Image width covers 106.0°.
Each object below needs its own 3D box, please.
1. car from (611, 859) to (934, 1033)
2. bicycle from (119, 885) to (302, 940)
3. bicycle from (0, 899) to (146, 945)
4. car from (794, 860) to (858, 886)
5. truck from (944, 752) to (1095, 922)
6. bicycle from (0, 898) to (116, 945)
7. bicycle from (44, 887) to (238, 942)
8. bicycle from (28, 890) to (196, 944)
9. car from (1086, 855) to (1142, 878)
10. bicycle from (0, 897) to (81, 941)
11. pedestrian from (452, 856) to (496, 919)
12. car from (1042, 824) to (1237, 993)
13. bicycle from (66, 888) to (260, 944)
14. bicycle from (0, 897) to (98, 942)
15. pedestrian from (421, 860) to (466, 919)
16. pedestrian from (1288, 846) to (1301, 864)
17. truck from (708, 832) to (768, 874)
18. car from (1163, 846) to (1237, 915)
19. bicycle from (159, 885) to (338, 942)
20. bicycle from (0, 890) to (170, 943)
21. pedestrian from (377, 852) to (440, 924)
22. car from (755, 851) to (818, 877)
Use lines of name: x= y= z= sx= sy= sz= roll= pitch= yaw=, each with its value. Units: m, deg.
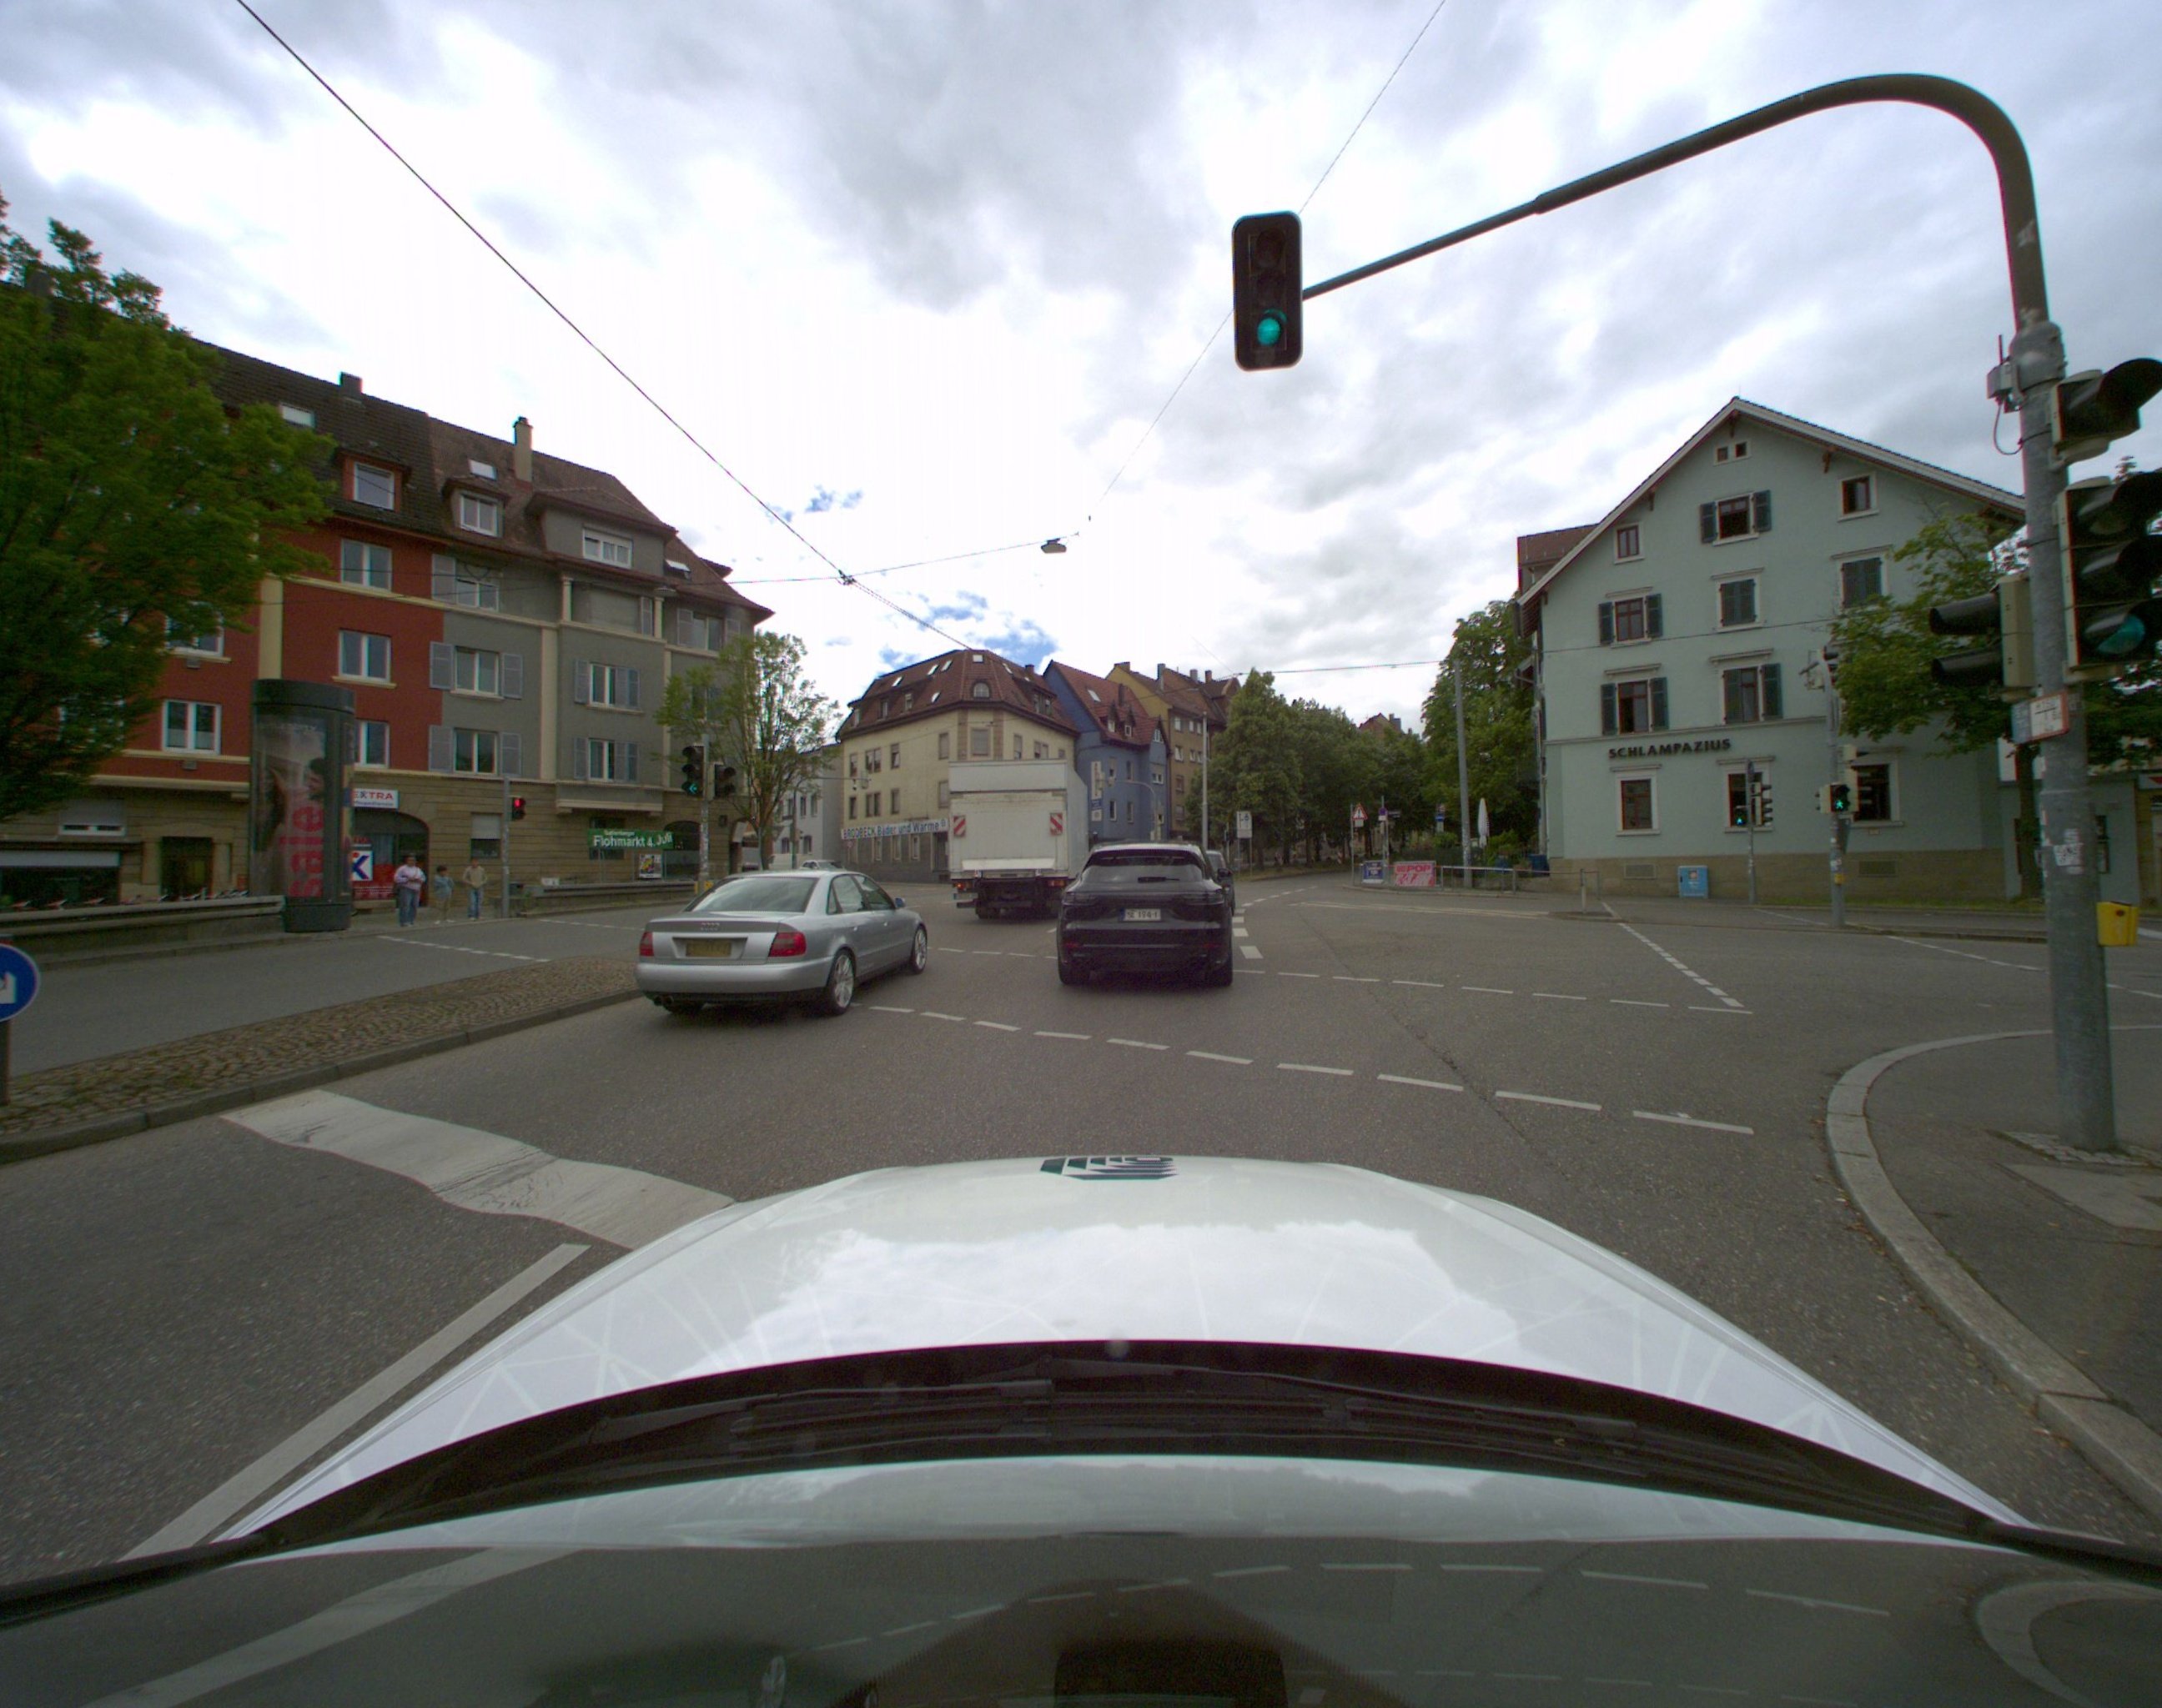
car: x=-2.945 y=0.770 z=8.824 sx=1.621 sy=1.365 sz=4.133 roll=1 pitch=0 yaw=5
bicycle: x=-22.418 y=1.459 z=21.143 sx=0.812 sy=1.202 sz=3.366 roll=0 pitch=0 yaw=8
bicycle: x=-27.184 y=1.778 z=21.799 sx=0.812 sy=1.021 sz=2.841 roll=0 pitch=0 yaw=8
car: x=-15.050 y=1.132 z=47.925 sx=3.925 sy=1.470 sz=1.892 roll=-1 pitch=-2 yaw=43
truck: x=-1.232 y=-0.351 z=21.348 sx=2.713 sy=3.544 sz=8.430 roll=0 pitch=0 yaw=4
bicycle: x=-27.918 y=1.792 z=21.853 sx=0.629 sy=1.070 sz=2.668 roll=0 pitch=0 yaw=8
bicycle: x=-24.535 y=1.532 z=21.415 sx=0.898 sy=1.202 sz=3.366 roll=0 pitch=0 yaw=8
bicycle: x=-25.489 y=1.621 z=21.548 sx=0.812 sy=1.202 sz=2.841 roll=0 pitch=0 yaw=8
car: x=2.274 y=0.827 z=54.964 sx=1.700 sy=1.476 sz=4.245 roll=-3 pitch=-2 yaw=36
bicycle: x=-29.190 y=1.783 z=22.083 sx=0.629 sy=1.070 sz=2.669 roll=0 pitch=0 yaw=9
pedestrian: x=-14.510 y=0.784 z=19.478 sx=0.518 sy=1.487 sz=0.656 roll=0 pitch=0 yaw=15
car: x=0.935 y=0.549 z=10.668 sx=2.020 sy=1.723 sz=4.511 roll=0 pitch=0 yaw=9
bicycle: x=-23.496 y=1.543 z=21.007 sx=0.898 sy=1.202 sz=3.366 roll=0 pitch=0 yaw=8
bicycle: x=-28.557 y=1.773 z=21.949 sx=0.629 sy=1.070 sz=2.669 roll=0 pitch=0 yaw=9
pedestrian: x=-14.740 y=0.816 z=18.831 sx=0.570 sy=1.338 sz=0.586 roll=-1 pitch=0 yaw=15
pedestrian: x=23.706 y=0.085 z=90.464 sx=1.180 sy=2.013 sz=0.995 roll=0 pitch=0 yaw=33
truck: x=-28.546 y=-0.063 z=67.709 sx=5.371 sy=3.354 sz=2.715 roll=0 pitch=-1 yaw=45
car: x=3.087 y=0.622 z=20.593 sx=1.638 sy=1.556 sz=3.594 roll=1 pitch=-1 yaw=11
bicycle: x=-21.243 y=1.474 z=20.959 sx=0.812 sy=1.202 sz=3.366 roll=0 pitch=0 yaw=8
bicycle: x=-26.355 y=1.620 z=21.667 sx=0.812 sy=1.202 sz=2.841 roll=0 pitch=0 yaw=8
pedestrian: x=-14.862 y=0.735 z=18.005 sx=0.786 sy=1.546 sz=0.741 roll=0 pitch=0 yaw=15
car: x=-20.823 y=0.674 z=57.504 sx=4.280 sy=1.799 sz=2.078 roll=0 pitch=0 yaw=35
